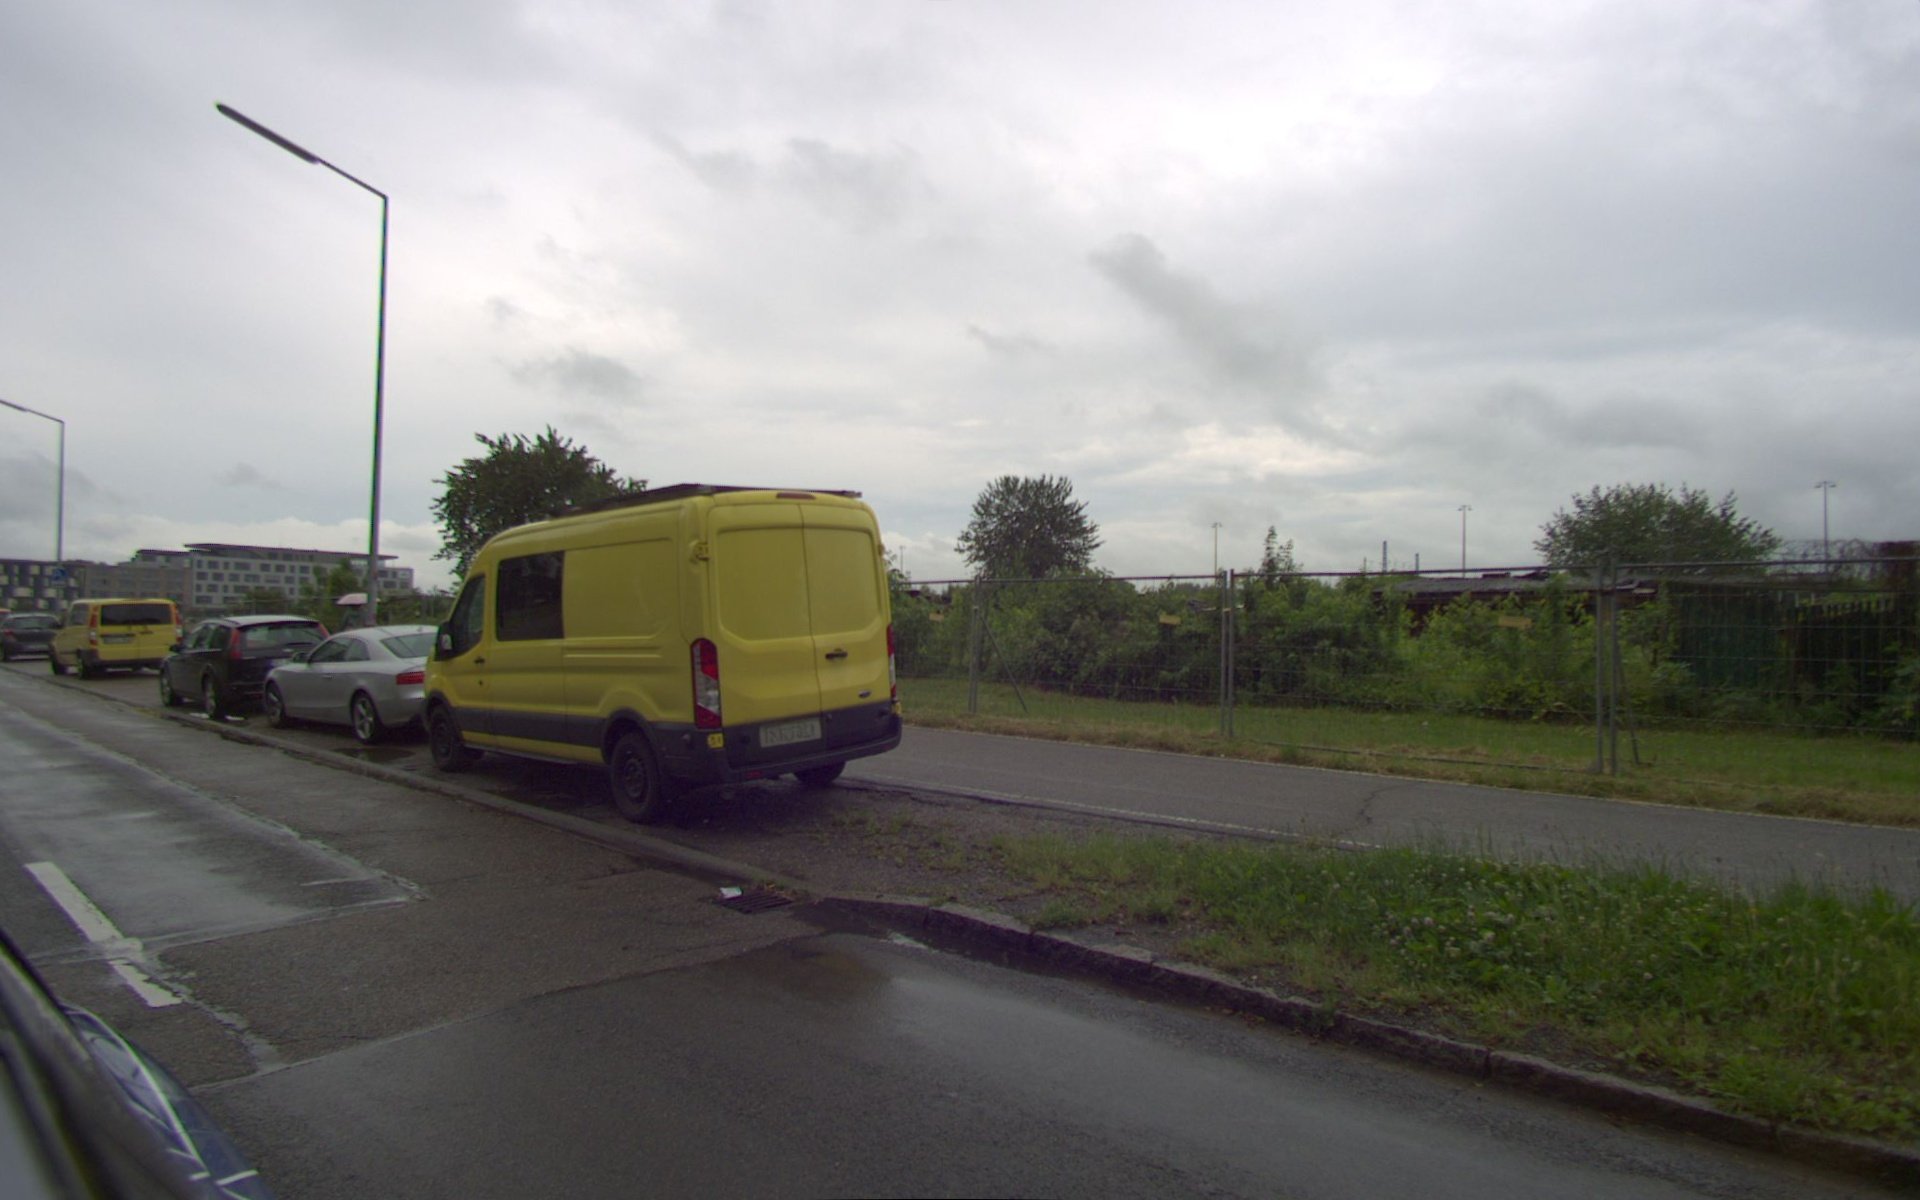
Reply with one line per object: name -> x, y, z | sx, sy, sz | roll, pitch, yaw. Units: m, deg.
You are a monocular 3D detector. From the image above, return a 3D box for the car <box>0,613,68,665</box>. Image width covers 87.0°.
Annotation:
car -> -31.022, 1.262, 33.462 | 4.031, 1.573, 1.785 | -1, 0, 41

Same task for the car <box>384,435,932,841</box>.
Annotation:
car -> -3.214, 0.272, 9.632 | 6.080, 2.714, 2.168 | -1, 0, 42

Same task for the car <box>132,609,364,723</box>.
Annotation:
car -> -12.131, 0.980, 17.115 | 5.013, 1.606, 1.974 | 0, 0, 40

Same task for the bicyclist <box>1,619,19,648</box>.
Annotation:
bicyclist -> -59.875, 2.098, 63.795 | 1.008, 1.843, 0.691 | -2, -2, 41

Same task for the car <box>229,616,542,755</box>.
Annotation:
car -> -7.973, 0.994, 13.775 | 5.336, 1.445, 1.990 | 0, 1, 40

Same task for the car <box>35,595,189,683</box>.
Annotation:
car -> -21.303, 0.885, 25.307 | 6.061, 1.971, 1.996 | -1, 0, 41

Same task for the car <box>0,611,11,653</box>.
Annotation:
car -> -43.384, 1.386, 44.589 | 4.330, 1.781, 1.919 | -1, -2, 43

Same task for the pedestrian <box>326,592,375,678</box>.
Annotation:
pedestrian -> -14.768, 0.831, 24.511 | 0.980, 2.029, 0.734 | -1, -2, 41
